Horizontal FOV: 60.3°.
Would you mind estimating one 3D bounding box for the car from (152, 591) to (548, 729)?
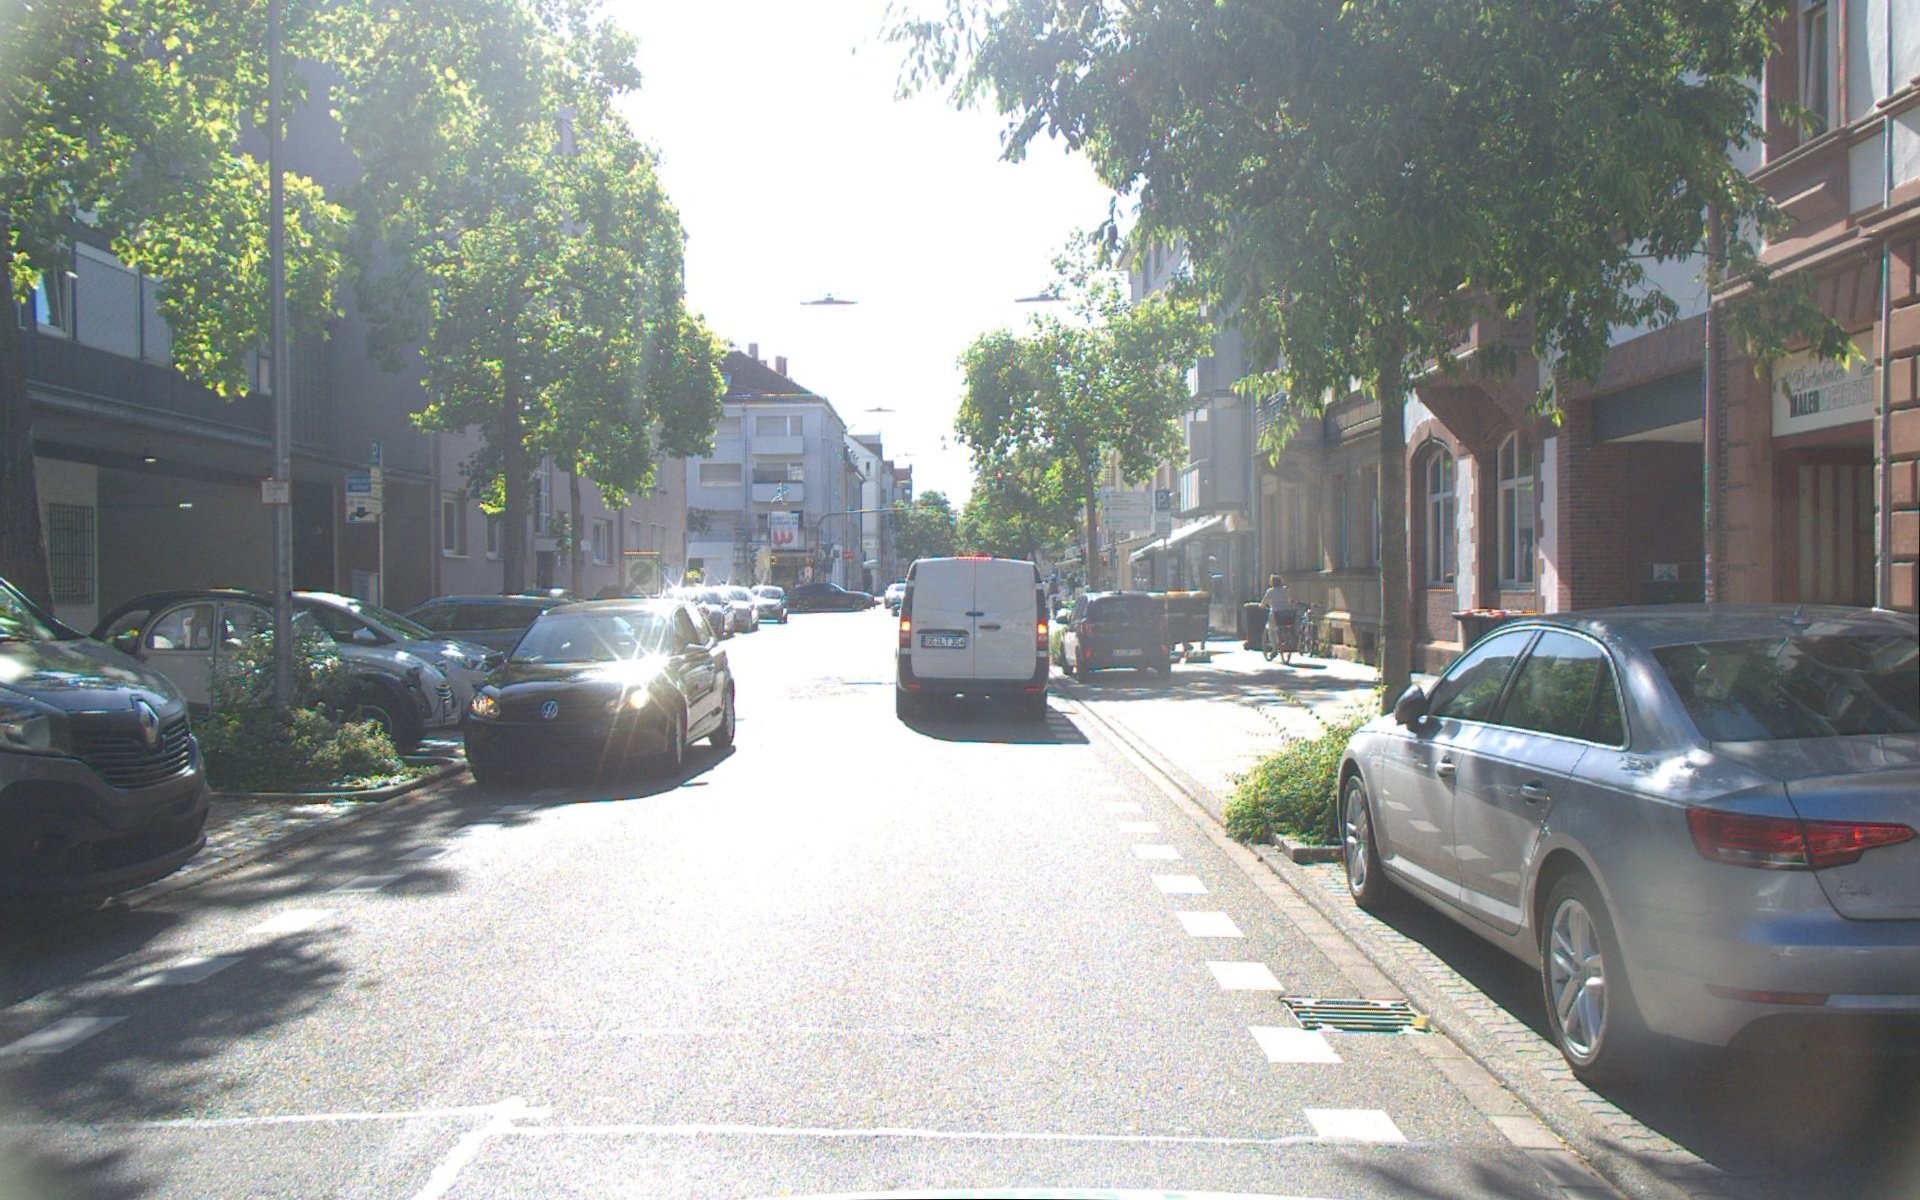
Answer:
[{"bbox_3d":[-6.905,0.652,19.071,3.908,1.489,1.811,0,1,-3],"label":"car"}]

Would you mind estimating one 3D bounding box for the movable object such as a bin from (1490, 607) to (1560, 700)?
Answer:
[{"bbox_3d":[6.845,0.640,20.058,0.625,1.087,0.639,-1,0,-1],"label":"movable object such as a bin"}]

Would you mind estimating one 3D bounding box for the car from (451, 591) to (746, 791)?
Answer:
[{"bbox_3d":[-3.043,0.691,14.736,1.727,1.463,3.960,-2,0,0],"label":"car"}]

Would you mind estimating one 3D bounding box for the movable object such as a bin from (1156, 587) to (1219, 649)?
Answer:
[{"bbox_3d":[5.246,0.401,38.063,1.021,1.371,1.104,0,1,38],"label":"movable object such as a bin"}]

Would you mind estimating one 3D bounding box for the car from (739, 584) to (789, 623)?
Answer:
[{"bbox_3d":[-7.927,0.121,67.180,1.619,1.505,3.999,1,1,-2],"label":"car"}]

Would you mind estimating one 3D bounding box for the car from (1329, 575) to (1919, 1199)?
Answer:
[{"bbox_3d":[2.767,0.681,6.180,1.703,1.476,4.307,-2,1,-1],"label":"car"}]

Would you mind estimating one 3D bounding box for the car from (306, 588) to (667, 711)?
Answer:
[{"bbox_3d":[-6.159,0.618,21.831,4.216,1.485,1.763,1,1,2],"label":"car"}]

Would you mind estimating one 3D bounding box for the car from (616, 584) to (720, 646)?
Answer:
[{"bbox_3d":[-7.983,0.371,45.567,1.952,1.523,4.229,2,1,1],"label":"car"}]

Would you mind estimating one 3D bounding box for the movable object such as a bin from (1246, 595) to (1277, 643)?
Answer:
[{"bbox_3d":[6.732,0.423,36.953,0.586,1.060,0.546,-1,0,-1],"label":"movable object such as a bin"}]

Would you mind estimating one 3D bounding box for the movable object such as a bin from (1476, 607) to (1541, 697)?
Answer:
[{"bbox_3d":[6.832,0.637,20.620,0.625,1.087,0.521,-1,0,-1],"label":"movable object such as a bin"}]

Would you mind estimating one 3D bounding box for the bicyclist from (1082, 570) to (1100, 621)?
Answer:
[{"bbox_3d":[4.015,-0.128,50.597,0.430,1.535,0.496,3,0,-1],"label":"bicyclist"}]

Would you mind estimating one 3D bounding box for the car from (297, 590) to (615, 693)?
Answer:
[{"bbox_3d":[-7.419,0.596,24.619,4.217,1.458,1.644,0,0,0],"label":"car"}]

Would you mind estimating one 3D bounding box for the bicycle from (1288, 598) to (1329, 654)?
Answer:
[{"bbox_3d":[7.006,0.513,33.284,0.423,1.048,1.428,-4,1,-1],"label":"bicycle"}]

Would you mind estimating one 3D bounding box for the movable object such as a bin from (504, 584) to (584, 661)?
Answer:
[{"bbox_3d":[-8.195,0.430,32.634,1.204,1.475,1.077,-1,0,8],"label":"movable object such as a bin"}]

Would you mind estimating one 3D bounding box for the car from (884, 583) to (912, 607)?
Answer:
[{"bbox_3d":[-3.780,-0.315,101.054,1.585,1.422,3.731,0,1,0],"label":"car"}]

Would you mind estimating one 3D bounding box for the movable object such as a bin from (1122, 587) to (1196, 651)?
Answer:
[{"bbox_3d":[4.443,0.424,36.946,1.261,1.371,1.091,-2,1,-43],"label":"movable object such as a bin"}]

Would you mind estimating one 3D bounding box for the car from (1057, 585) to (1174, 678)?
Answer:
[{"bbox_3d":[2.690,0.510,29.301,1.602,1.501,3.579,-1,1,-2],"label":"car"}]

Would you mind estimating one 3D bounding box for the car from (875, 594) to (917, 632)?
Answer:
[{"bbox_3d":[-3.010,0.577,78.005,1.829,1.642,4.427,-1,1,-1],"label":"car"}]

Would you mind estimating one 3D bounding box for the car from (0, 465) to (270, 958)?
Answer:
[{"bbox_3d":[-6.245,0.439,7.716,5.184,2.008,2.015,0,1,-1],"label":"car"}]

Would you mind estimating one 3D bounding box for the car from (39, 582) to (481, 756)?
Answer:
[{"bbox_3d":[-6.622,0.620,15.915,3.524,1.579,1.684,0,0,0],"label":"car"}]

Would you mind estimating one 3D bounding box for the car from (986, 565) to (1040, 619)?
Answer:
[{"bbox_3d":[1.973,-0.340,63.142,1.779,1.954,4.643,-1,1,-1],"label":"car"}]

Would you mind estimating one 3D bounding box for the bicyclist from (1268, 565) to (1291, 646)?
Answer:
[{"bbox_3d":[5.977,0.092,30.940,0.353,1.502,0.531,0,0,2],"label":"bicyclist"}]

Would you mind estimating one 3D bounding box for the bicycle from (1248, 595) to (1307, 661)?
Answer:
[{"bbox_3d":[5.966,0.510,31.178,0.526,1.169,2.122,-2,0,-4],"label":"bicycle"}]

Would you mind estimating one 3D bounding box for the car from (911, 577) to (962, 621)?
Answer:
[{"bbox_3d":[-0.898,-0.062,61.096,1.807,1.534,3.999,-1,1,-2],"label":"car"}]

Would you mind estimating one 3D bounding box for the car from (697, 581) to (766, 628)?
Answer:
[{"bbox_3d":[-7.829,0.138,56.988,1.740,1.495,4.759,2,1,-1],"label":"car"}]

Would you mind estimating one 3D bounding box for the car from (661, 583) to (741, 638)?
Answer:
[{"bbox_3d":[-7.871,0.276,50.651,1.686,1.523,4.626,2,1,0],"label":"car"}]

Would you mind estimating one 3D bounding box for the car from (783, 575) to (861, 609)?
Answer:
[{"bbox_3d":[-7.072,-0.426,85.109,3.908,1.668,1.999,-1,1,-4],"label":"car"}]

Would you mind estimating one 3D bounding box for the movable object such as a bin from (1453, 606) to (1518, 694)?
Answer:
[{"bbox_3d":[6.730,0.631,21.211,0.625,1.087,0.632,-1,0,-1],"label":"movable object such as a bin"}]

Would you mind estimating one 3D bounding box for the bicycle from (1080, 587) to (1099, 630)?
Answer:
[{"bbox_3d":[3.952,0.243,50.635,0.465,1.296,1.218,0,0,-1],"label":"bicycle"}]

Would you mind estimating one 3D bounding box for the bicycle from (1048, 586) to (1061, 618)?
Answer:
[{"bbox_3d":[3.960,0.070,69.410,0.407,1.333,1.334,0,0,-3],"label":"bicycle"}]

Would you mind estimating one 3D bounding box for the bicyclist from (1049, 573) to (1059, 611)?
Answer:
[{"bbox_3d":[3.949,-0.340,69.457,0.348,1.603,0.481,0,0,-3],"label":"bicyclist"}]

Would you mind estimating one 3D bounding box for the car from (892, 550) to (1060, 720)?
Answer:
[{"bbox_3d":[0.088,0.359,21.470,1.882,1.947,4.885,0,1,-3],"label":"car"}]
